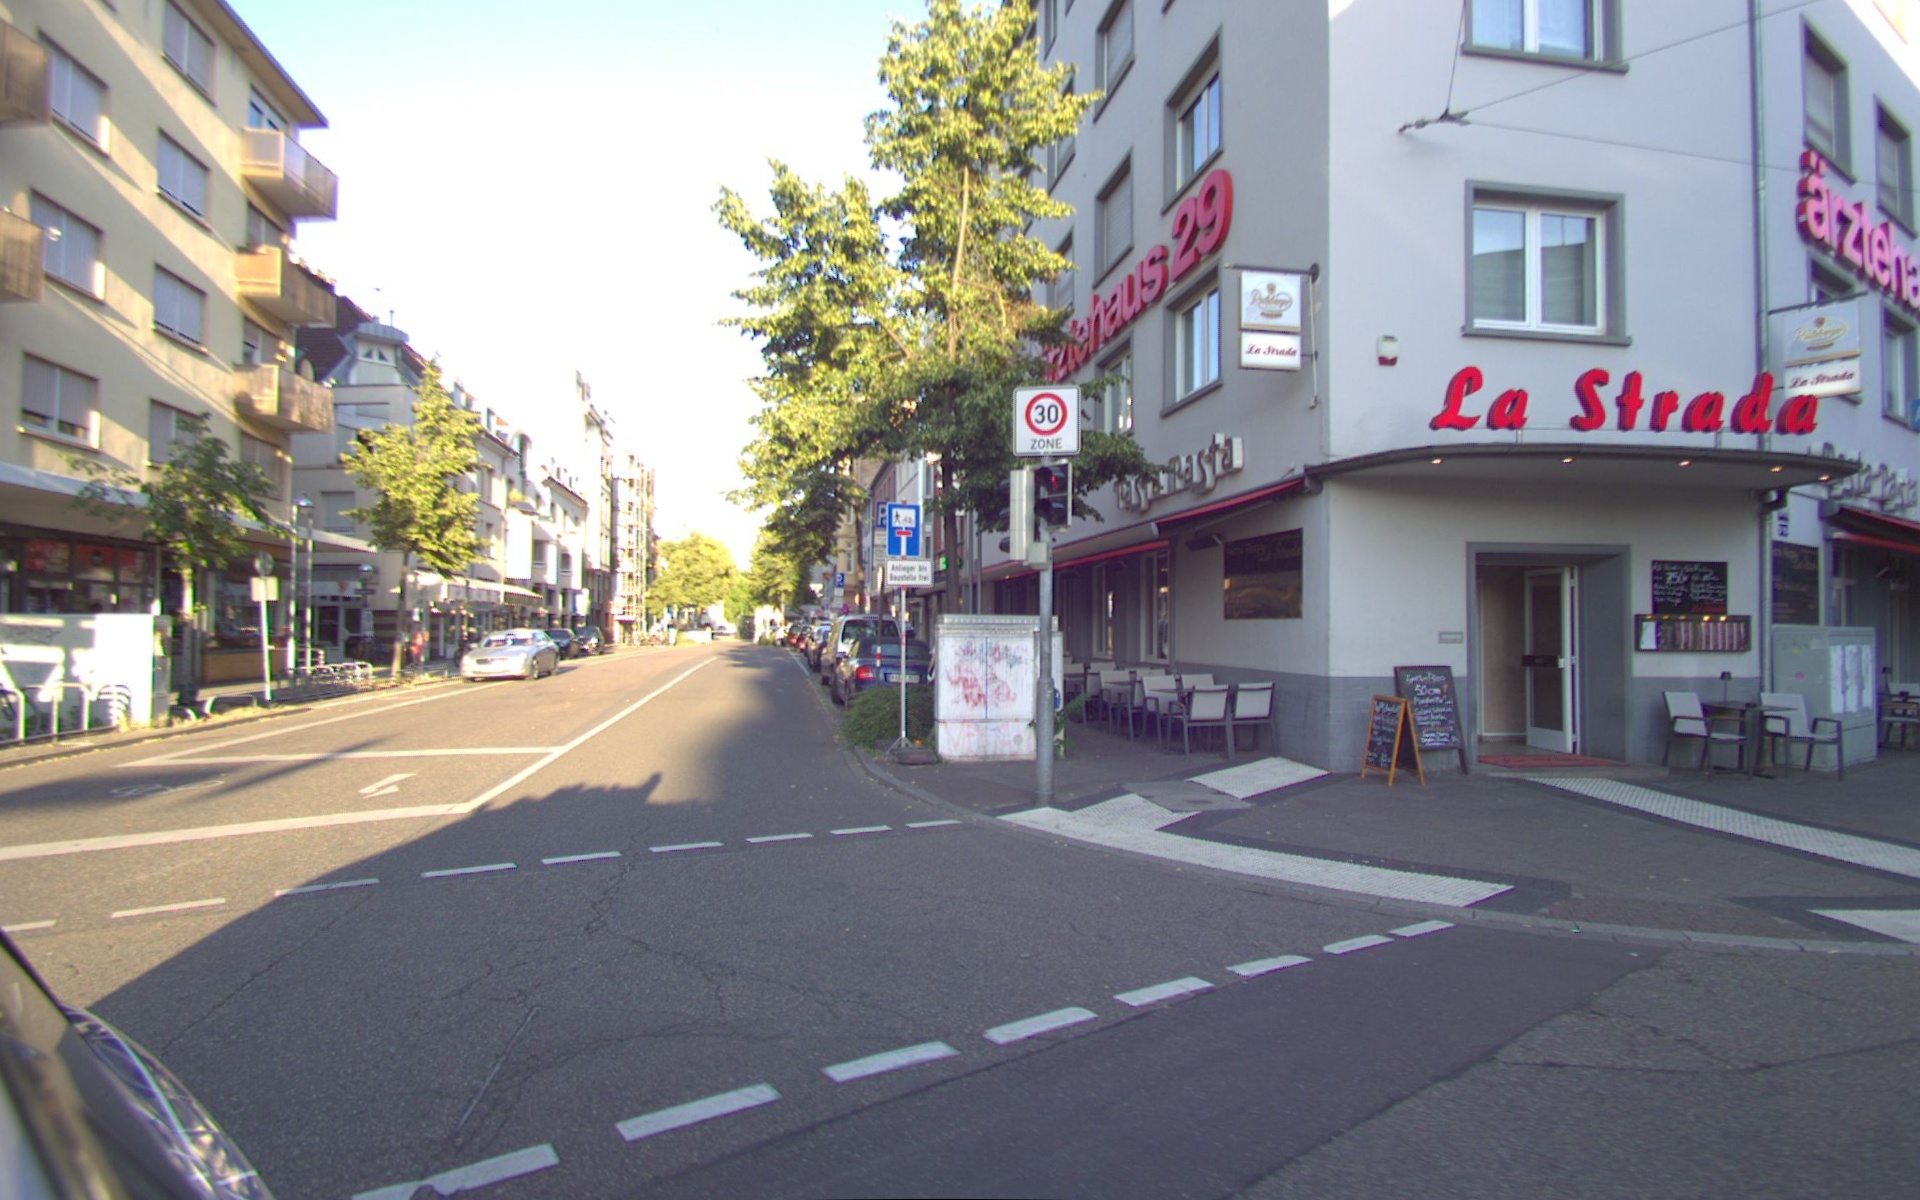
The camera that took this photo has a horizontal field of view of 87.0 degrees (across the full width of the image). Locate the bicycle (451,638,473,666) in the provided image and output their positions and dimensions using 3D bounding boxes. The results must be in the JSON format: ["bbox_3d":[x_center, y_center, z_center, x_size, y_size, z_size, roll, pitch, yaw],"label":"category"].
[{"bbox_3d":[-18.438,1.917,37.510,0.385,0.963,1.620,0,-1,-14],"label":"bicycle"}]

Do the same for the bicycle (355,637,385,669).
[{"bbox_3d":[-20.673,1.845,35.478,0.385,1.058,1.849,0,-1,-14],"label":"bicycle"}]

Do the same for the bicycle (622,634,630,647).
[{"bbox_3d":[-24.913,3.004,75.549,0.462,0.965,1.924,0,-1,-16],"label":"bicycle"}]

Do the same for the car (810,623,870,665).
[{"bbox_3d":[-4.799,1.692,39.867,1.967,1.522,5.124,1,-2,-10],"label":"car"}]

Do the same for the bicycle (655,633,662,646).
[{"bbox_3d":[-22.781,2.950,76.565,0.462,0.965,1.924,0,-1,-16],"label":"bicycle"}]

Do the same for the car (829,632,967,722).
[{"bbox_3d":[-1.267,1.306,18.396,1.889,1.397,4.392,1,-2,-11],"label":"car"}]

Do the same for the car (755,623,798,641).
[{"bbox_3d":[-18.188,3.178,100.283,4.065,1.689,2.002,1,-2,-14],"label":"car"}]

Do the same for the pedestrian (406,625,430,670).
[{"bbox_3d":[-18.690,1.644,34.919,0.533,1.542,0.555,0,-2,-6],"label":"pedestrian"}]

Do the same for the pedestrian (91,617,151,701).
[{"bbox_3d":[-17.164,1.195,20.710,0.633,1.672,0.779,-2,-2,-11],"label":"pedestrian"}]

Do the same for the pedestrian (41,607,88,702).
[{"bbox_3d":[-17.433,1.059,19.713,0.572,1.796,0.530,-1,-2,-30],"label":"pedestrian"}]

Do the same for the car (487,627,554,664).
[{"bbox_3d":[-17.845,1.826,41.221,1.700,1.432,4.041,1,-2,-12],"label":"car"}]

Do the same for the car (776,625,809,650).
[{"bbox_3d":[-12.285,2.706,74.044,2.022,1.766,4.229,1,-2,-14],"label":"car"}]

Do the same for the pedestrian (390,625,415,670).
[{"bbox_3d":[-19.254,1.619,34.954,0.533,1.542,0.651,0,-2,-6],"label":"pedestrian"}]

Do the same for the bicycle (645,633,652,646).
[{"bbox_3d":[-23.483,2.970,76.312,0.462,0.965,1.924,0,-1,-16],"label":"bicycle"}]

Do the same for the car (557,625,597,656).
[{"bbox_3d":[-20.101,2.107,53.193,1.547,1.561,2.810,1,-2,-12],"label":"car"}]

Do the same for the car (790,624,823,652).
[{"bbox_3d":[-9.257,2.250,60.824,1.743,1.626,4.226,1,-2,-10],"label":"car"}]

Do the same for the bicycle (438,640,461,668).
[{"bbox_3d":[-18.860,1.980,37.396,0.385,0.964,1.644,0,-1,-14],"label":"bicycle"}]

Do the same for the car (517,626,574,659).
[{"bbox_3d":[-18.753,1.890,45.947,1.700,1.432,3.757,1,-2,-12],"label":"car"}]

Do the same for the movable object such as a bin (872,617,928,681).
[{"bbox_3d":[-1.707,1.354,28.469,1.264,1.685,1.444,-3,-1,-13],"label":"movable object such as a bin"}]

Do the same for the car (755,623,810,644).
[{"bbox_3d":[-14.029,2.677,79.901,4.123,1.593,2.062,1,-2,-16],"label":"car"}]

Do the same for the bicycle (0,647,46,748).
[{"bbox_3d":[-12.410,1.197,12.291,1.885,1.213,0.471,0,-2,-21],"label":"bicycle"}]

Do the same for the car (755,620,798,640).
[{"bbox_3d":[-19.129,3.083,105.355,4.123,1.998,2.062,1,-2,-16],"label":"car"}]

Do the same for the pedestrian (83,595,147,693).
[{"bbox_3d":[-16.264,0.845,19.496,0.698,1.821,0.651,-2,-2,-10],"label":"pedestrian"}]

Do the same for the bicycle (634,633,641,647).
[{"bbox_3d":[-24.224,2.990,76.004,0.462,0.965,1.924,0,-1,-16],"label":"bicycle"}]

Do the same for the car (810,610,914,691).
[{"bbox_3d":[-2.478,1.184,24.633,1.889,1.801,4.159,1,-2,-14],"label":"car"}]

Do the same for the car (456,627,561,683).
[{"bbox_3d":[-12.686,1.505,28.736,1.777,1.388,4.562,-2,-1,-12],"label":"car"}]

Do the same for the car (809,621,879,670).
[{"bbox_3d":[-3.960,1.488,33.925,1.889,1.522,4.649,1,-2,-11],"label":"car"}]

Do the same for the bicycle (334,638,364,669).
[{"bbox_3d":[-21.328,1.844,35.345,0.385,1.041,1.849,0,-1,-14],"label":"bicycle"}]
